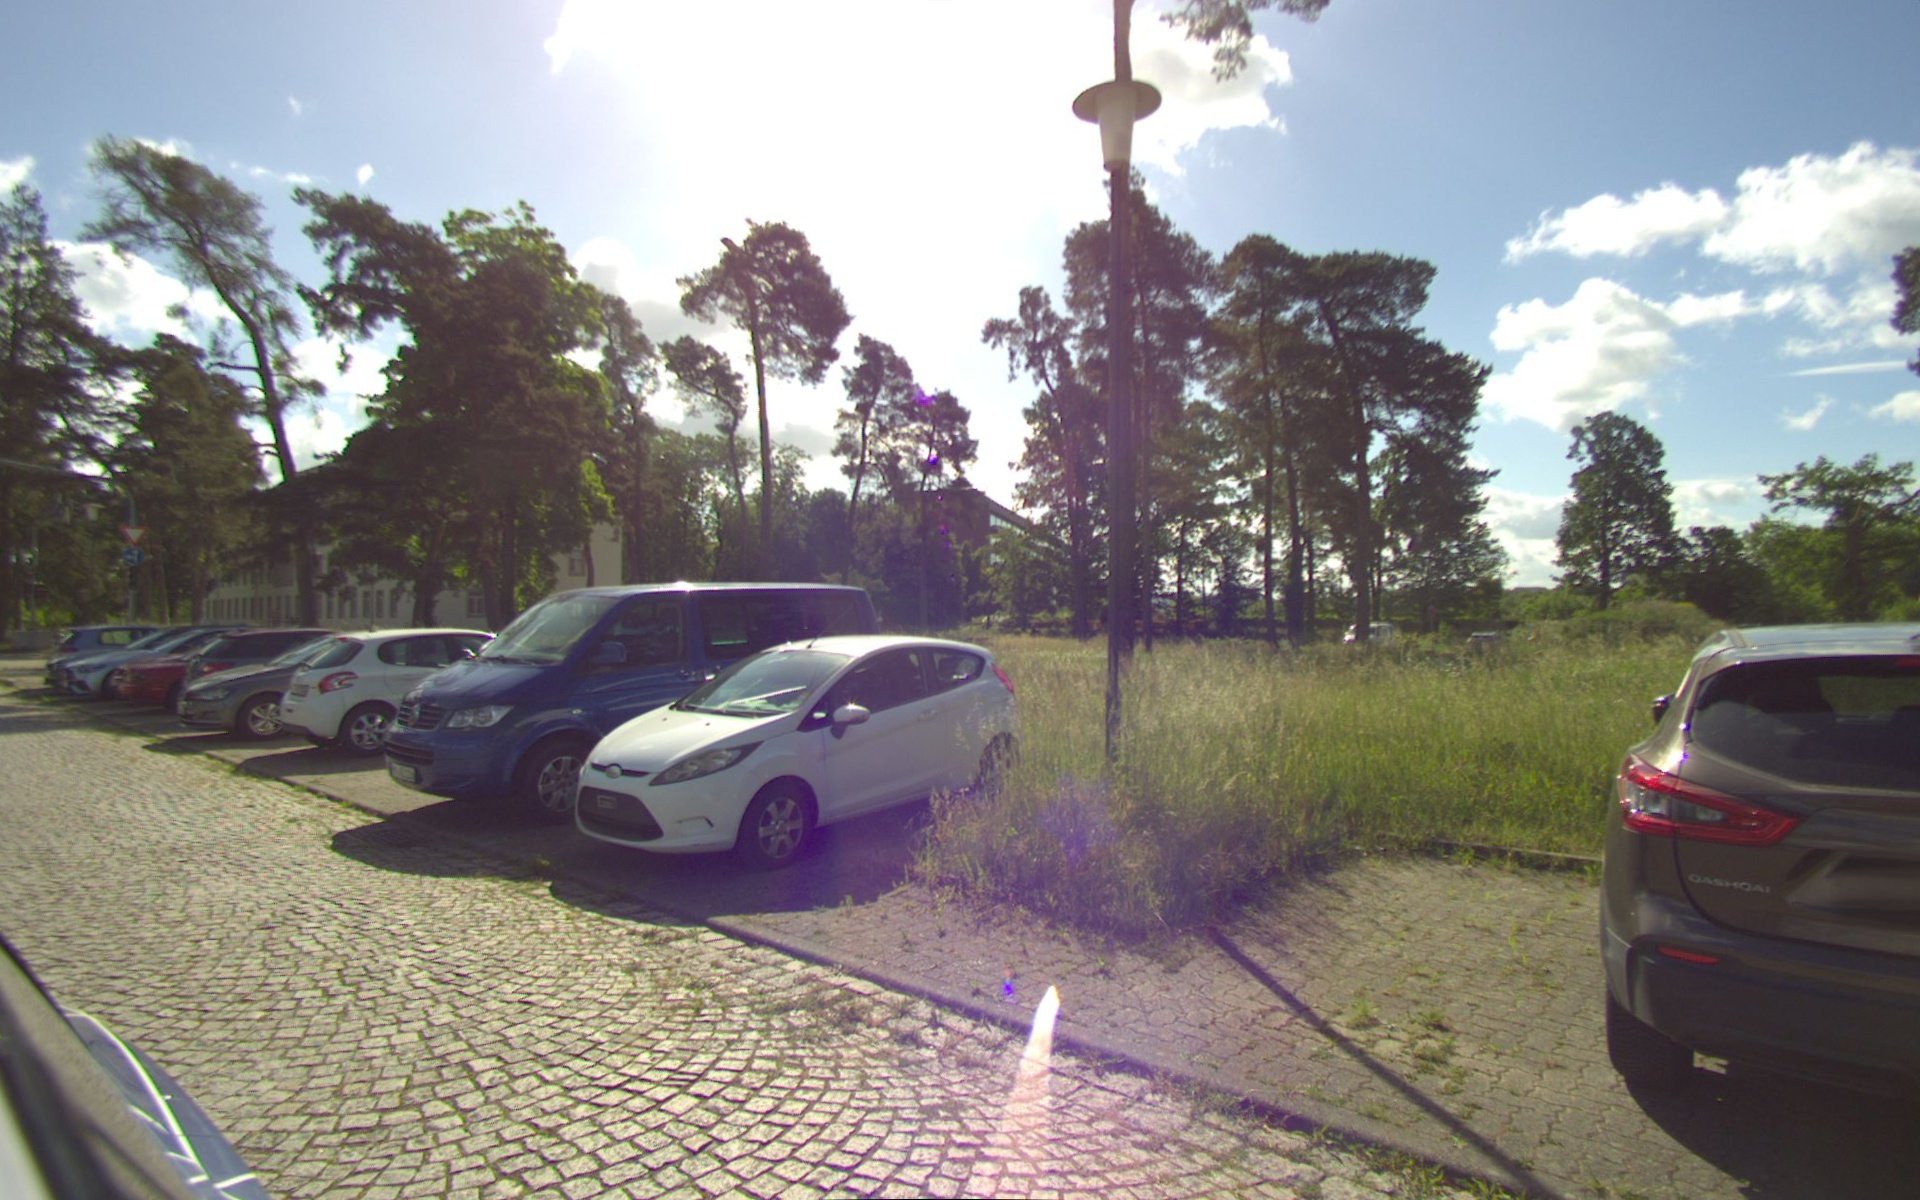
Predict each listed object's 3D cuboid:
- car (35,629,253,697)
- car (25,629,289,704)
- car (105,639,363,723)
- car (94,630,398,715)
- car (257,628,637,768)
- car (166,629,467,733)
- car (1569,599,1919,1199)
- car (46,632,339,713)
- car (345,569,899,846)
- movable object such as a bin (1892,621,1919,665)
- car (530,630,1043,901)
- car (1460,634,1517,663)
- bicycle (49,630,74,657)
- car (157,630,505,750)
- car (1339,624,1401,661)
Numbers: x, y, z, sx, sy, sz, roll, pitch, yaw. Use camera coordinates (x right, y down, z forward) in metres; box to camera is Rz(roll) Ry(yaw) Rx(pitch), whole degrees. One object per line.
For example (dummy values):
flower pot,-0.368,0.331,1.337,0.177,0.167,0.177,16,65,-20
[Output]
car,-20.538,1.525,25.590,1.947,1.494,3.986,-2,-2,39
car,-18.678,1.473,23.738,1.981,1.463,4.538,-1,-1,37
car,-13.308,1.416,18.676,1.759,1.243,3.591,0,0,42
car,-14.512,1.385,20.820,1.938,1.431,4.813,-1,-1,41
car,-6.659,1.155,13.481,1.823,1.486,4.153,-2,-1,41
car,-10.914,1.283,17.371,1.821,1.463,4.033,0,0,42
car,3.803,0.795,3.838,1.972,1.580,3.914,-3,-1,39
car,-16.549,1.478,22.043,1.938,1.431,4.813,0,0,41
car,-2.937,0.776,9.687,2.004,1.983,4.669,-1,-1,41
movable object such as a bin,47.729,2.037,47.499,2.491,2.142,5.683,1,-2,-3
car,-1.103,1.011,7.838,1.681,1.451,3.779,-1,-1,38
car,30.122,2.737,57.644,1.912,1.617,4.183,-1,-3,42
bicycle,-45.864,2.216,51.670,2.113,1.293,0.613,-2,0,40
car,-9.168,1.211,14.982,1.922,1.436,4.033,-2,-1,42
car,25.081,2.564,61.809,1.957,2.180,4.794,-1,-3,42
